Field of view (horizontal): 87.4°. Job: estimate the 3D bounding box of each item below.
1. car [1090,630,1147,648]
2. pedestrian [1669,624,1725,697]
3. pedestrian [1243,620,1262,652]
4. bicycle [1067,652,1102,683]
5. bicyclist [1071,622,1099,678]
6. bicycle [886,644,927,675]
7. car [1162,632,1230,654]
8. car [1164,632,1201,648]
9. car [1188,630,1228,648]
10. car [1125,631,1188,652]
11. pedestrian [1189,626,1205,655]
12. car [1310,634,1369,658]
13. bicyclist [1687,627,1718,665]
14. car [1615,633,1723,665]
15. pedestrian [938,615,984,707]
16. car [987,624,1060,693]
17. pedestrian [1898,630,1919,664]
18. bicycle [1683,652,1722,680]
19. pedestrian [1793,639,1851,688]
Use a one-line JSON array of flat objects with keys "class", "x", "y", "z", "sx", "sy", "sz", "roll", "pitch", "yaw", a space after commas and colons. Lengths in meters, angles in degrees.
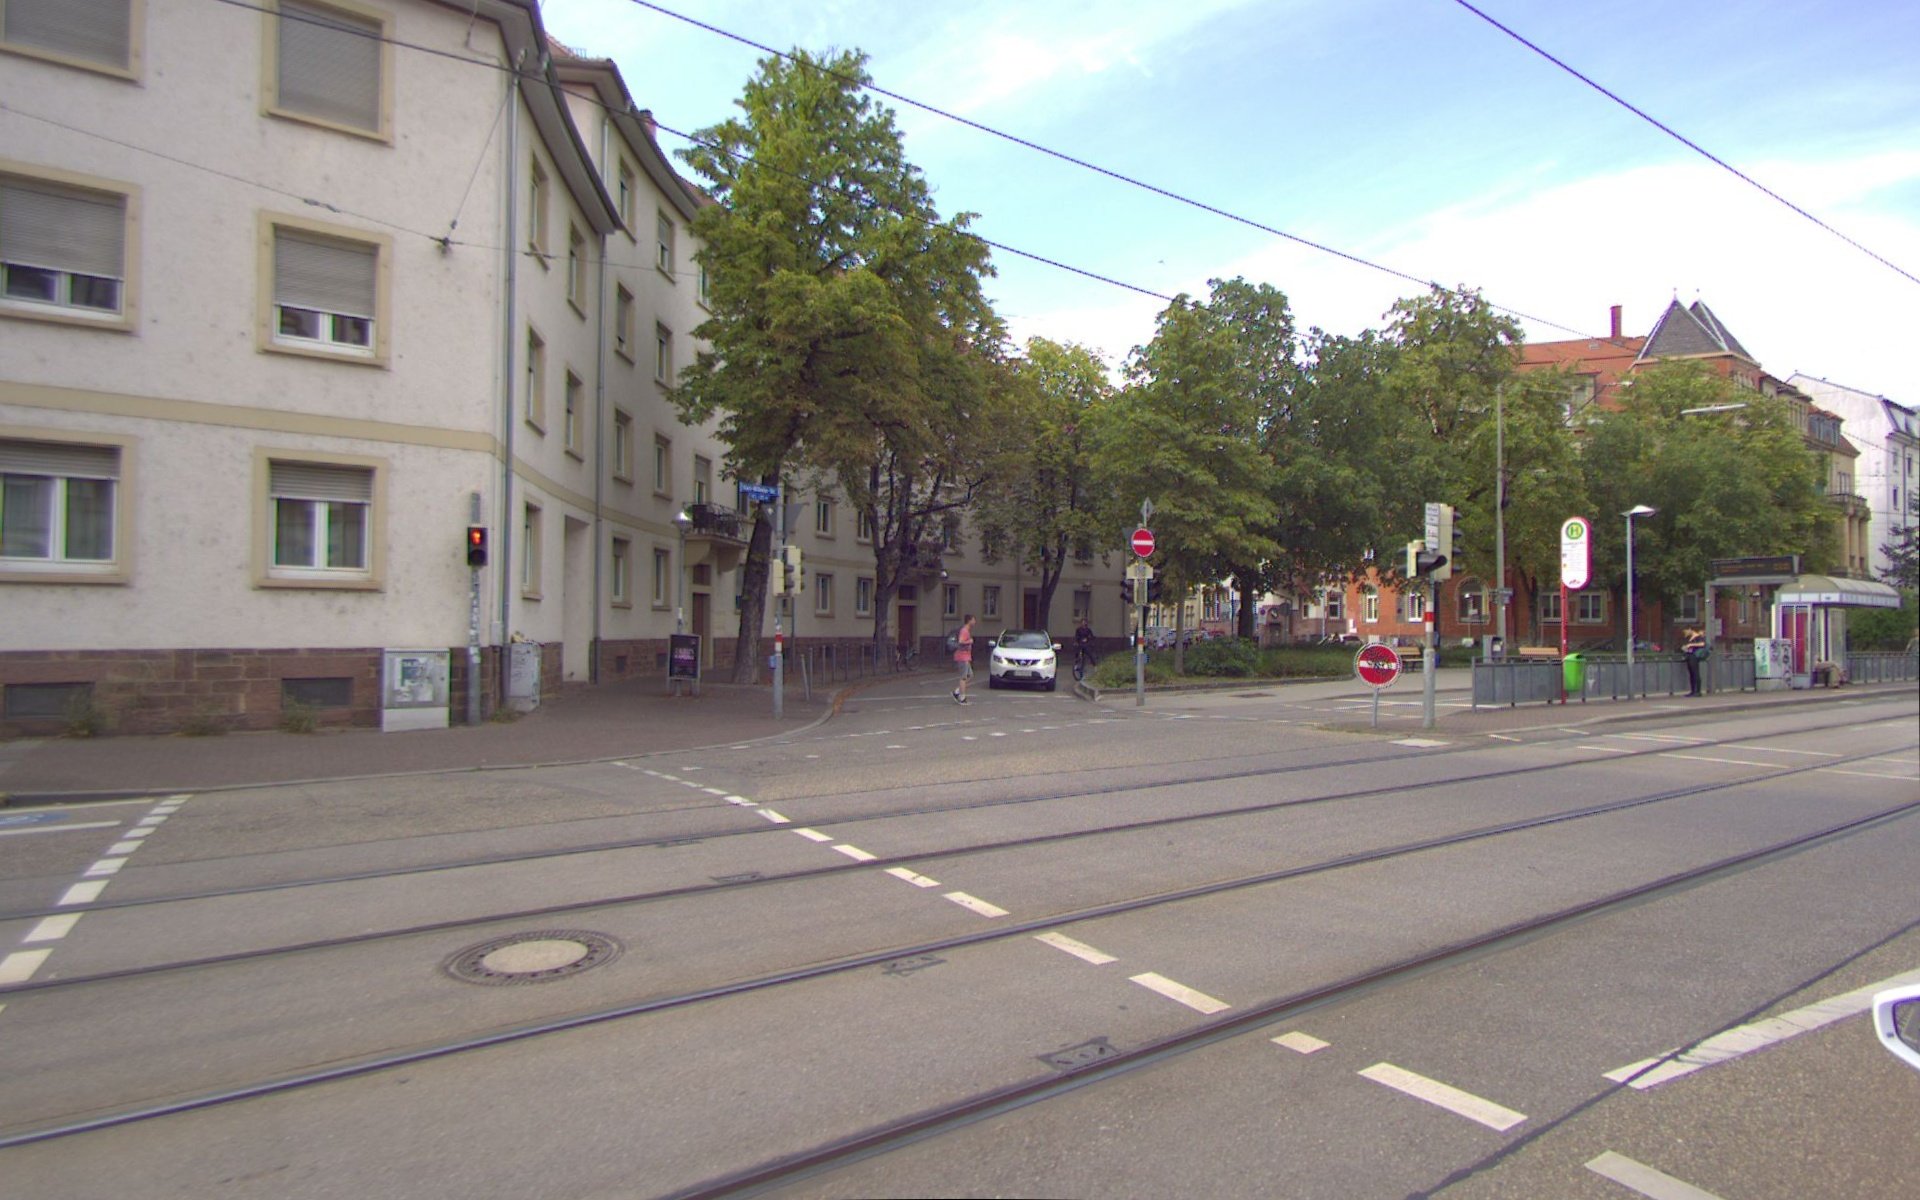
[{"class": "car", "x": 12.234, "y": 3.015, "z": 77.636, "sx": 3.930, "sy": 1.413, "sz": 1.812, "roll": 1, "pitch": -2, "yaw": -12}, {"class": "pedestrian", "x": 17.004, "y": 1.373, "z": 23.187, "sx": 0.836, "sy": 1.642, "sz": 0.845, "roll": 2, "pitch": -2, "yaw": -39}, {"class": "pedestrian", "x": 16.367, "y": 1.992, "z": 56.240, "sx": 0.720, "sy": 1.777, "sz": 0.751, "roll": 0, "pitch": -2, "yaw": -15}, {"class": "bicycle", "x": 4.082, "y": 2.192, "z": 32.825, "sx": 0.597, "sy": 0.949, "sz": 1.574, "roll": -1, "pitch": -2, "yaw": 28}, {"class": "bicyclist", "x": 4.088, "y": 1.632, "z": 32.851, "sx": 0.601, "sy": 1.799, "sz": 0.909, "roll": -1, "pitch": -2, "yaw": 28}, {"class": "bicycle", "x": -1.850, "y": 2.063, "z": 35.067, "sx": 0.486, "sy": 1.022, "sz": 1.837, "roll": -1, "pitch": -2, "yaw": 30}, {"class": "car", "x": 15.319, "y": 2.777, "z": 65.173, "sx": 3.930, "sy": 1.413, "sz": 1.812, "roll": 1, "pitch": -2, "yaw": -12}, {"class": "car", "x": 19.596, "y": 3.517, "z": 88.535, "sx": 1.783, "sy": 1.413, "sz": 3.993, "roll": 1, "pitch": -2, "yaw": -11}, {"class": "car", "x": 20.625, "y": 3.240, "z": 83.627, "sx": 1.783, "sy": 1.413, "sz": 3.993, "roll": 1, "pitch": -2, "yaw": -11}, {"class": "car", "x": 13.640, "y": 2.859, "z": 69.822, "sx": 3.930, "sy": 1.413, "sz": 1.812, "roll": 1, "pitch": -2, "yaw": -12}, {"class": "pedestrian", "x": 14.590, "y": 2.505, "z": 61.888, "sx": 0.671, "sy": 1.777, "sz": 0.731, "roll": 0, "pitch": -2, "yaw": -13}, {"class": "car", "x": 24.600, "y": 2.941, "z": 65.317, "sx": 1.783, "sy": 1.497, "sz": 3.993, "roll": 1, "pitch": -2, "yaw": -11}, {"class": "bicyclist", "x": 26.820, "y": 1.655, "z": 36.285, "sx": 0.827, "sy": 1.357, "sz": 0.657, "roll": 1, "pitch": -2, "yaw": -34}, {"class": "car", "x": 34.569, "y": 2.357, "z": 49.052, "sx": 3.920, "sy": 1.497, "sz": 1.816, "roll": 0, "pitch": -2, "yaw": 3}, {"class": "pedestrian", "x": 0.013, "y": 1.282, "z": 21.399, "sx": 0.821, "sy": 1.925, "sz": 0.730, "roll": 0, "pitch": -2, "yaw": -16}, {"class": "car", "x": 1.850, "y": 1.661, "z": 28.173, "sx": 1.804, "sy": 1.743, "sz": 4.163, "roll": 1, "pitch": -4, "yaw": 6}, {"class": "pedestrian", "x": 51.029, "y": 2.506, "z": 53.990, "sx": 0.826, "sy": 1.807, "sz": 0.726, "roll": 1, "pitch": -2, "yaw": -34}, {"class": "bicycle", "x": 26.819, "y": 2.377, "z": 36.265, "sx": 1.534, "sy": 0.961, "sz": 0.657, "roll": 2, "pitch": -2, "yaw": -34}, {"class": "pedestrian", "x": 23.603, "y": 1.719, "z": 27.503, "sx": 0.977, "sy": 1.311, "sz": 1.050, "roll": 2, "pitch": -2, "yaw": -39}]
